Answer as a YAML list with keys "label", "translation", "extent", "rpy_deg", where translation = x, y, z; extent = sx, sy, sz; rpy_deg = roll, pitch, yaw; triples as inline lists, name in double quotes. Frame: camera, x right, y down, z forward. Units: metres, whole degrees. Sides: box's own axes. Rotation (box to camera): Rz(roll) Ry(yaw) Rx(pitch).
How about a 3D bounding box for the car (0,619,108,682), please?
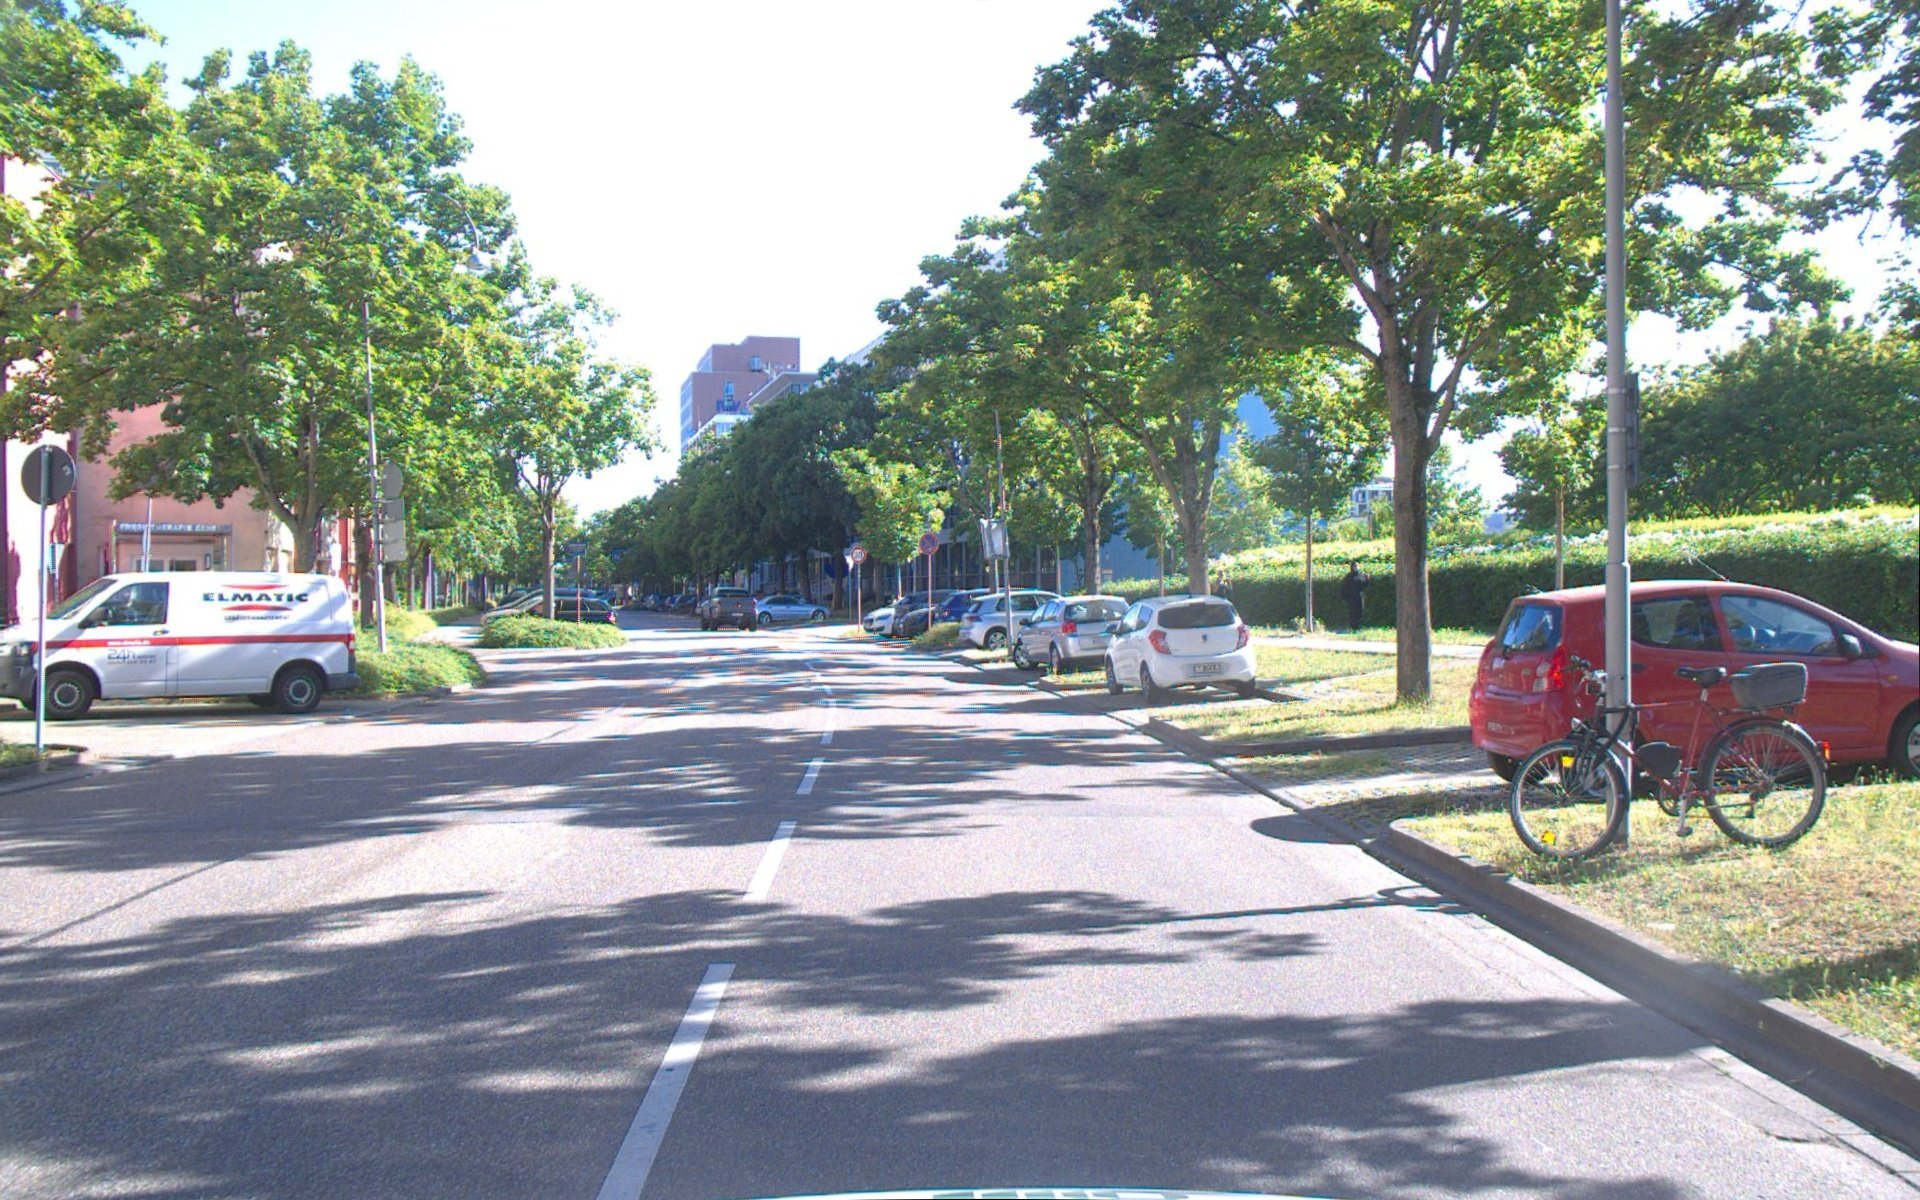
- label: "car"
  translation: [-24.444, 1.308, 42.822]
  extent: [3.917, 1.472, 1.797]
  rpy_deg: [-1, 2, -16]

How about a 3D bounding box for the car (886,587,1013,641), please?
- label: "car"
  translation: [-0.344, 0.457, 54.330]
  extent: [3.811, 1.541, 1.744]
  rpy_deg: [-3, 0, -15]

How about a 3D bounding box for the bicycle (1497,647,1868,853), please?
- label: "bicycle"
  translation: [3.848, 0.800, 8.906]
  extent: [1.713, 1.008, 0.530]
  rpy_deg: [-3, 0, 9]

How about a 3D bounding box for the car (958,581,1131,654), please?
- label: "car"
  translation: [2.088, 0.431, 41.295]
  extent: [4.014, 1.454, 1.639]
  rpy_deg: [-5, 0, -8]

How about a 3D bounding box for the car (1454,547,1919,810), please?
- label: "car"
  translation: [5.550, 0.506, 11.970]
  extent: [3.365, 1.571, 1.627]
  rpy_deg: [-4, 0, -2]

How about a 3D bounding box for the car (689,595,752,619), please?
- label: "car"
  translation: [-15.843, 0.471, 109.552]
  extent: [3.907, 1.444, 1.702]
  rpy_deg: [-2, 0, -17]

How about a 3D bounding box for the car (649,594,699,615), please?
- label: "car"
  translation: [-26.503, 0.401, 153.162]
  extent: [4.284, 1.733, 1.803]
  rpy_deg: [-2, 0, -18]

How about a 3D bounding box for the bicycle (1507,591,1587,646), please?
- label: "bicycle"
  translation: [9.771, 0.311, 27.565]
  extent: [0.342, 0.881, 1.397]
  rpy_deg: [-2, 0, -26]

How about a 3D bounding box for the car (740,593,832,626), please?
- label: "car"
  translation: [-9.044, 0.498, 85.772]
  extent: [4.502, 1.501, 1.740]
  rpy_deg: [-3, 0, -15]

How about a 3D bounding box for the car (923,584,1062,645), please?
- label: "car"
  translation: [0.943, 0.417, 49.224]
  extent: [3.741, 1.473, 1.739]
  rpy_deg: [-5, 0, -13]

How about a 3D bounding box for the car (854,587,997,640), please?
- label: "car"
  translation: [-1.182, 0.472, 56.749]
  extent: [4.485, 1.541, 1.970]
  rpy_deg: [-3, 0, -21]

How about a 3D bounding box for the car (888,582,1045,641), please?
- label: "car"
  translation: [0.170, 0.352, 51.837]
  extent: [4.474, 1.541, 2.150]
  rpy_deg: [-3, 0, -15]

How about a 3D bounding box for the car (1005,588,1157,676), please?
- label: "car"
  translation: [2.317, 0.592, 33.011]
  extent: [1.777, 1.519, 4.610]
  rpy_deg: [-3, 0, -12]

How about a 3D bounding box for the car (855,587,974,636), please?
- label: "car"
  translation: [-1.624, 0.408, 59.325]
  extent: [3.892, 1.541, 1.691]
  rpy_deg: [-3, 0, -21]

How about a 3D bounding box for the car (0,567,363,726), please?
- label: "car"
  translation: [-11.098, 0.577, 23.279]
  extent: [4.725, 2.020, 1.972]
  rpy_deg: [0, 1, -40]

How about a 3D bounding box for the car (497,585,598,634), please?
- label: "car"
  translation: [-16.341, 0.373, 65.591]
  extent: [3.827, 1.843, 1.779]
  rpy_deg: [1, 0, -15]

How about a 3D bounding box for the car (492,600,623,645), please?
- label: "car"
  translation: [-13.570, 0.752, 55.965]
  extent: [4.187, 1.448, 1.734]
  rpy_deg: [1, 0, -12]

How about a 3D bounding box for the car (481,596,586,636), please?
- label: "car"
  translation: [-16.273, 0.600, 63.193]
  extent: [3.827, 1.448, 1.732]
  rpy_deg: [1, 0, -15]

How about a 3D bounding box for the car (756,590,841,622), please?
- label: "car"
  translation: [-8.861, 0.308, 90.435]
  extent: [4.435, 1.569, 1.916]
  rpy_deg: [-2, 0, -12]

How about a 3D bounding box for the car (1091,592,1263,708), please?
- label: "car"
  translation: [3.192, 0.688, 24.993]
  extent: [1.612, 1.519, 3.759]
  rpy_deg: [-3, 0, -7]

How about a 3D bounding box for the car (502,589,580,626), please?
- label: "car"
  translation: [-25.047, 0.460, 99.080]
  extent: [4.410, 2.126, 2.076]
  rpy_deg: [1, 0, -13]

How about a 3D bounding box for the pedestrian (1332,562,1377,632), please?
- label: "pedestrian"
  translation: [9.275, -0.069, 38.899]
  extent: [0.711, 1.615, 0.850]
  rpy_deg: [-1, 0, -13]

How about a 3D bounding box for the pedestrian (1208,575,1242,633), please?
- label: "pedestrian"
  translation: [7.279, 0.101, 45.477]
  extent: [0.596, 1.569, 0.934]
  rpy_deg: [-1, 0, -13]

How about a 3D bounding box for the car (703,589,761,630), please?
- label: "car"
  translation: [-9.840, 0.412, 71.238]
  extent: [1.960, 1.669, 3.984]
  rpy_deg: [1, -1, -15]
